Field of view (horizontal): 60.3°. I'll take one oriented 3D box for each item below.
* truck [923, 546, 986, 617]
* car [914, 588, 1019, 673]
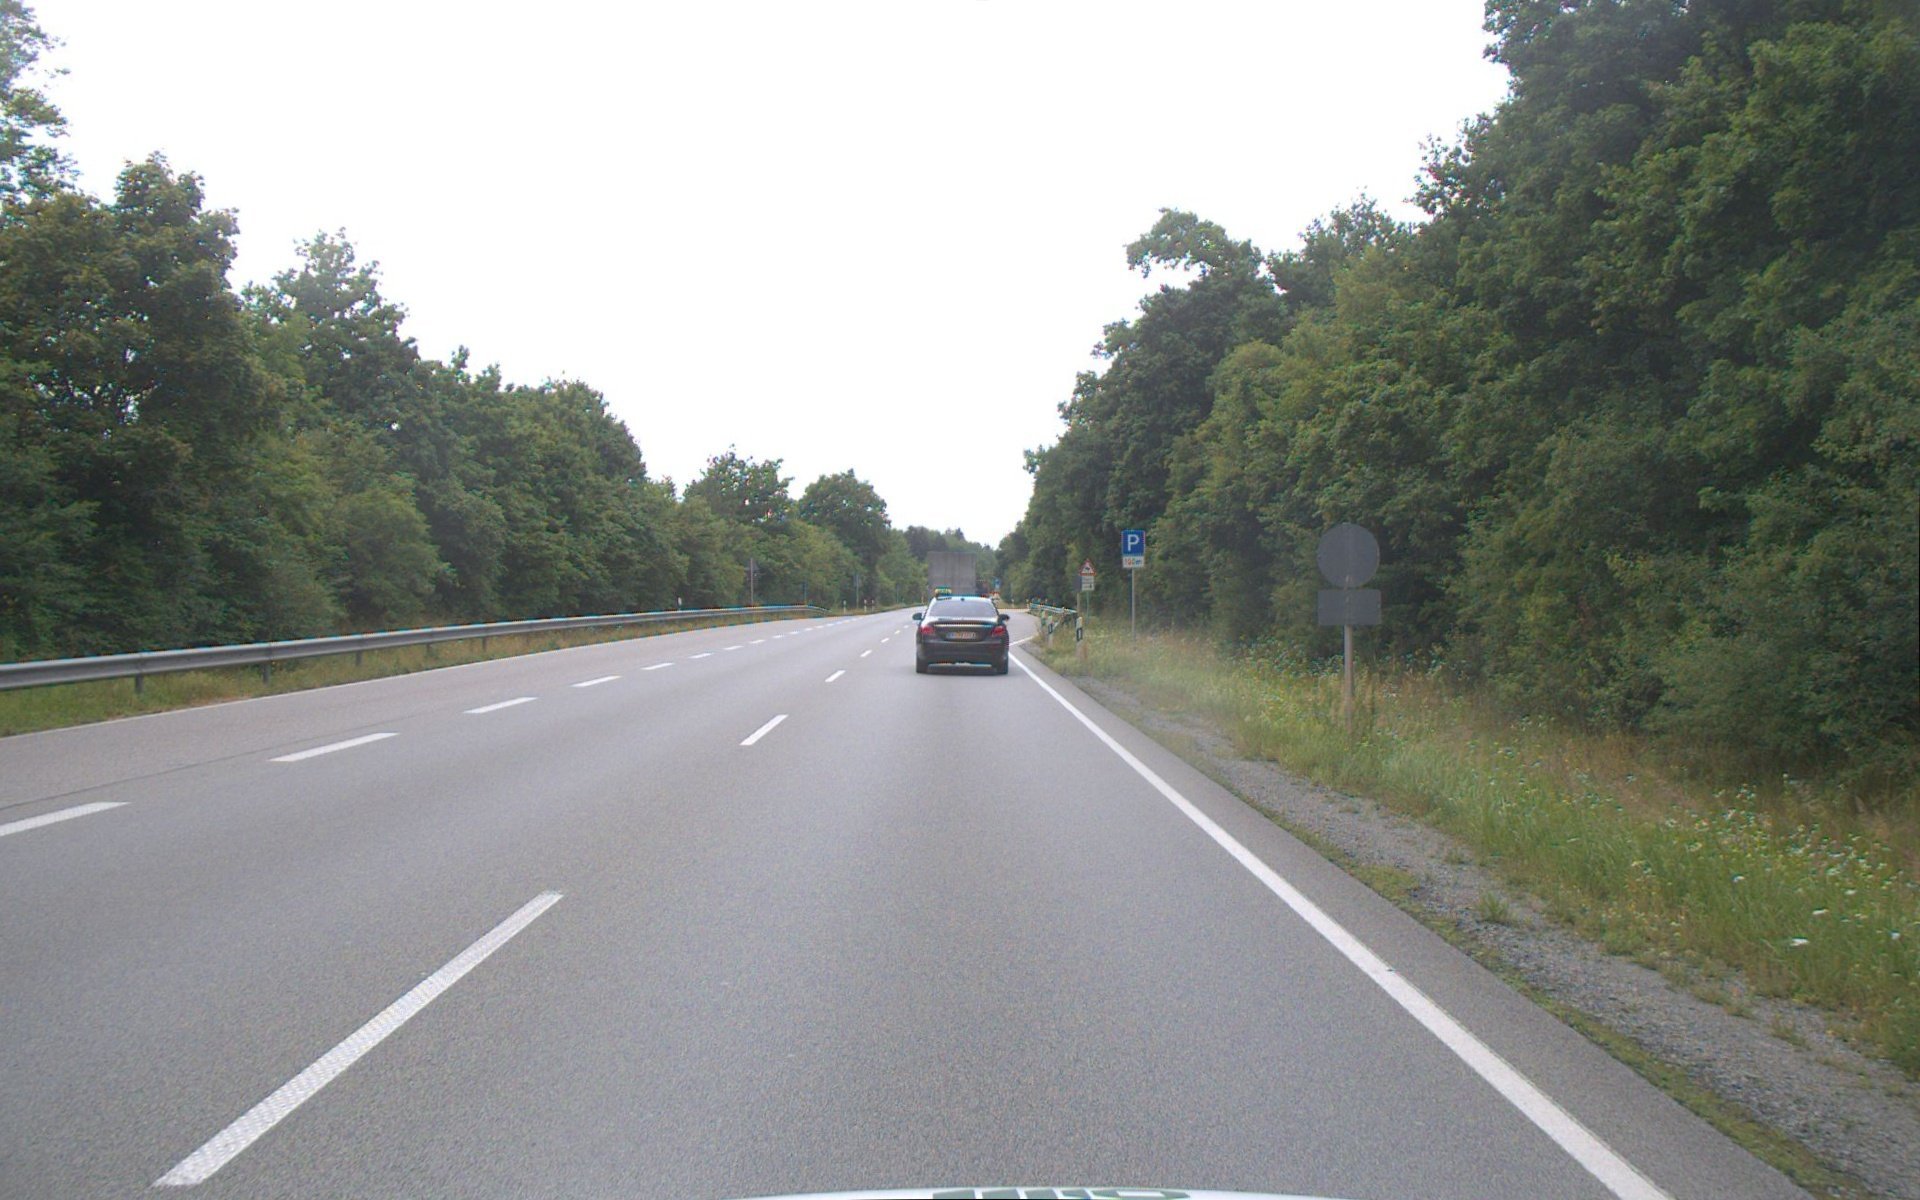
[{"bbox_3d":[-0.361,-0.967,91.668,3.214,3.675,11.398,1,0,-1],"label":"truck"},{"bbox_3d":[0.072,0.562,32.995,1.756,1.579,3.996,1,0,-5],"label":"car"}]
